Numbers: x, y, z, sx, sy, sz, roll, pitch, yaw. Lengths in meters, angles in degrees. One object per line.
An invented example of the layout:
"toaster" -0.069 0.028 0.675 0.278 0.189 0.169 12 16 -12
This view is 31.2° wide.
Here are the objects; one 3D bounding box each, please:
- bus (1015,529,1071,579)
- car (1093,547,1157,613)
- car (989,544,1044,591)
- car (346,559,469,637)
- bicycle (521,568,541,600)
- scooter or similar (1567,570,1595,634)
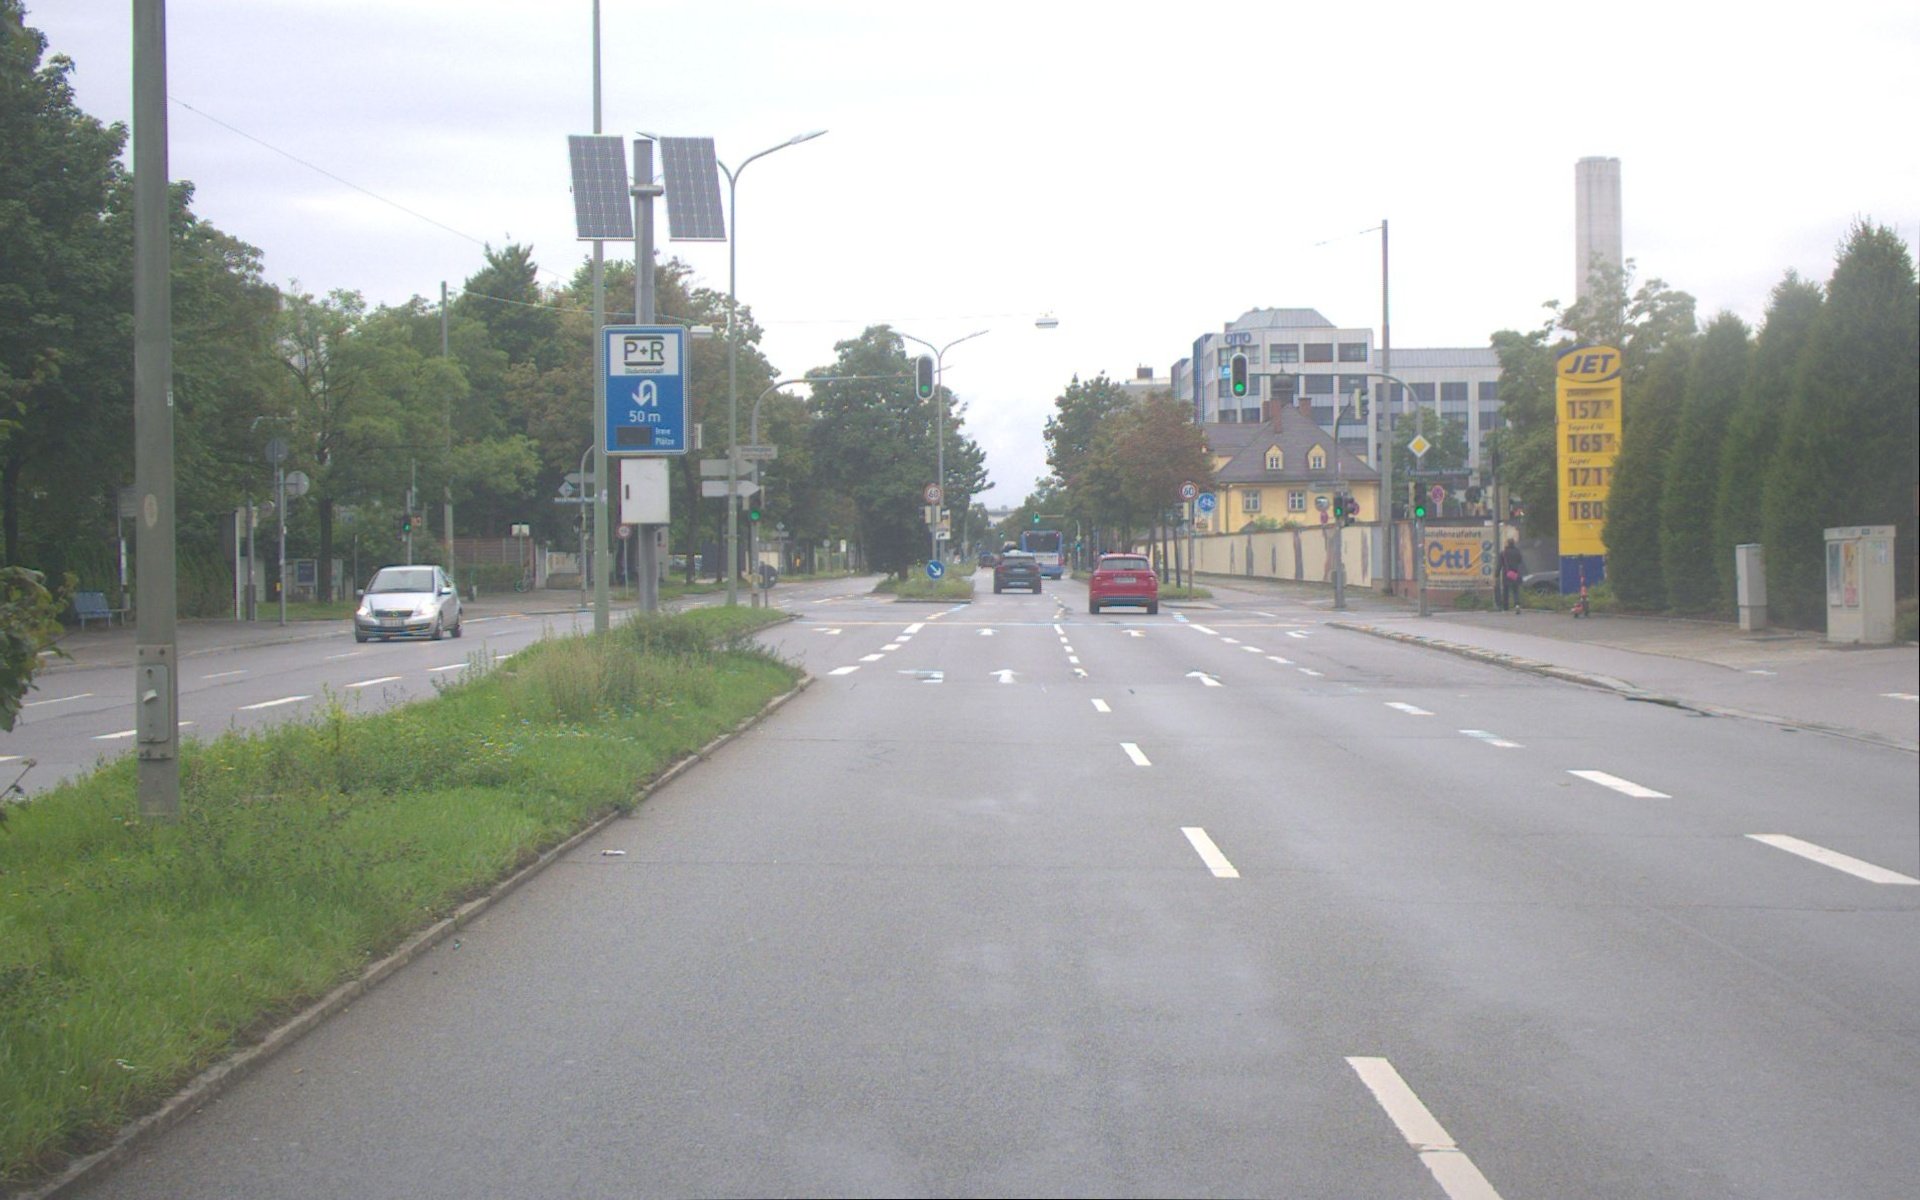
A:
"bus" 5.321 -2.943 222.867 3.220 3.116 10.345 1 1 -1
"car" 4.371 -0.541 91.511 1.484 1.710 3.551 1 1 -1
"car" 2.265 -1.314 139.496 2.084 1.859 4.386 1 1 -1
"car" -11.692 -0.059 72.968 1.814 1.552 4.026 -1 0 2
"bicycle" -17.848 -0.682 142.927 0.582 1.291 2.454 1 1 -2
"scooter or similar" 12.366 0.034 68.491 0.356 1.238 1.545 -3 0 5
